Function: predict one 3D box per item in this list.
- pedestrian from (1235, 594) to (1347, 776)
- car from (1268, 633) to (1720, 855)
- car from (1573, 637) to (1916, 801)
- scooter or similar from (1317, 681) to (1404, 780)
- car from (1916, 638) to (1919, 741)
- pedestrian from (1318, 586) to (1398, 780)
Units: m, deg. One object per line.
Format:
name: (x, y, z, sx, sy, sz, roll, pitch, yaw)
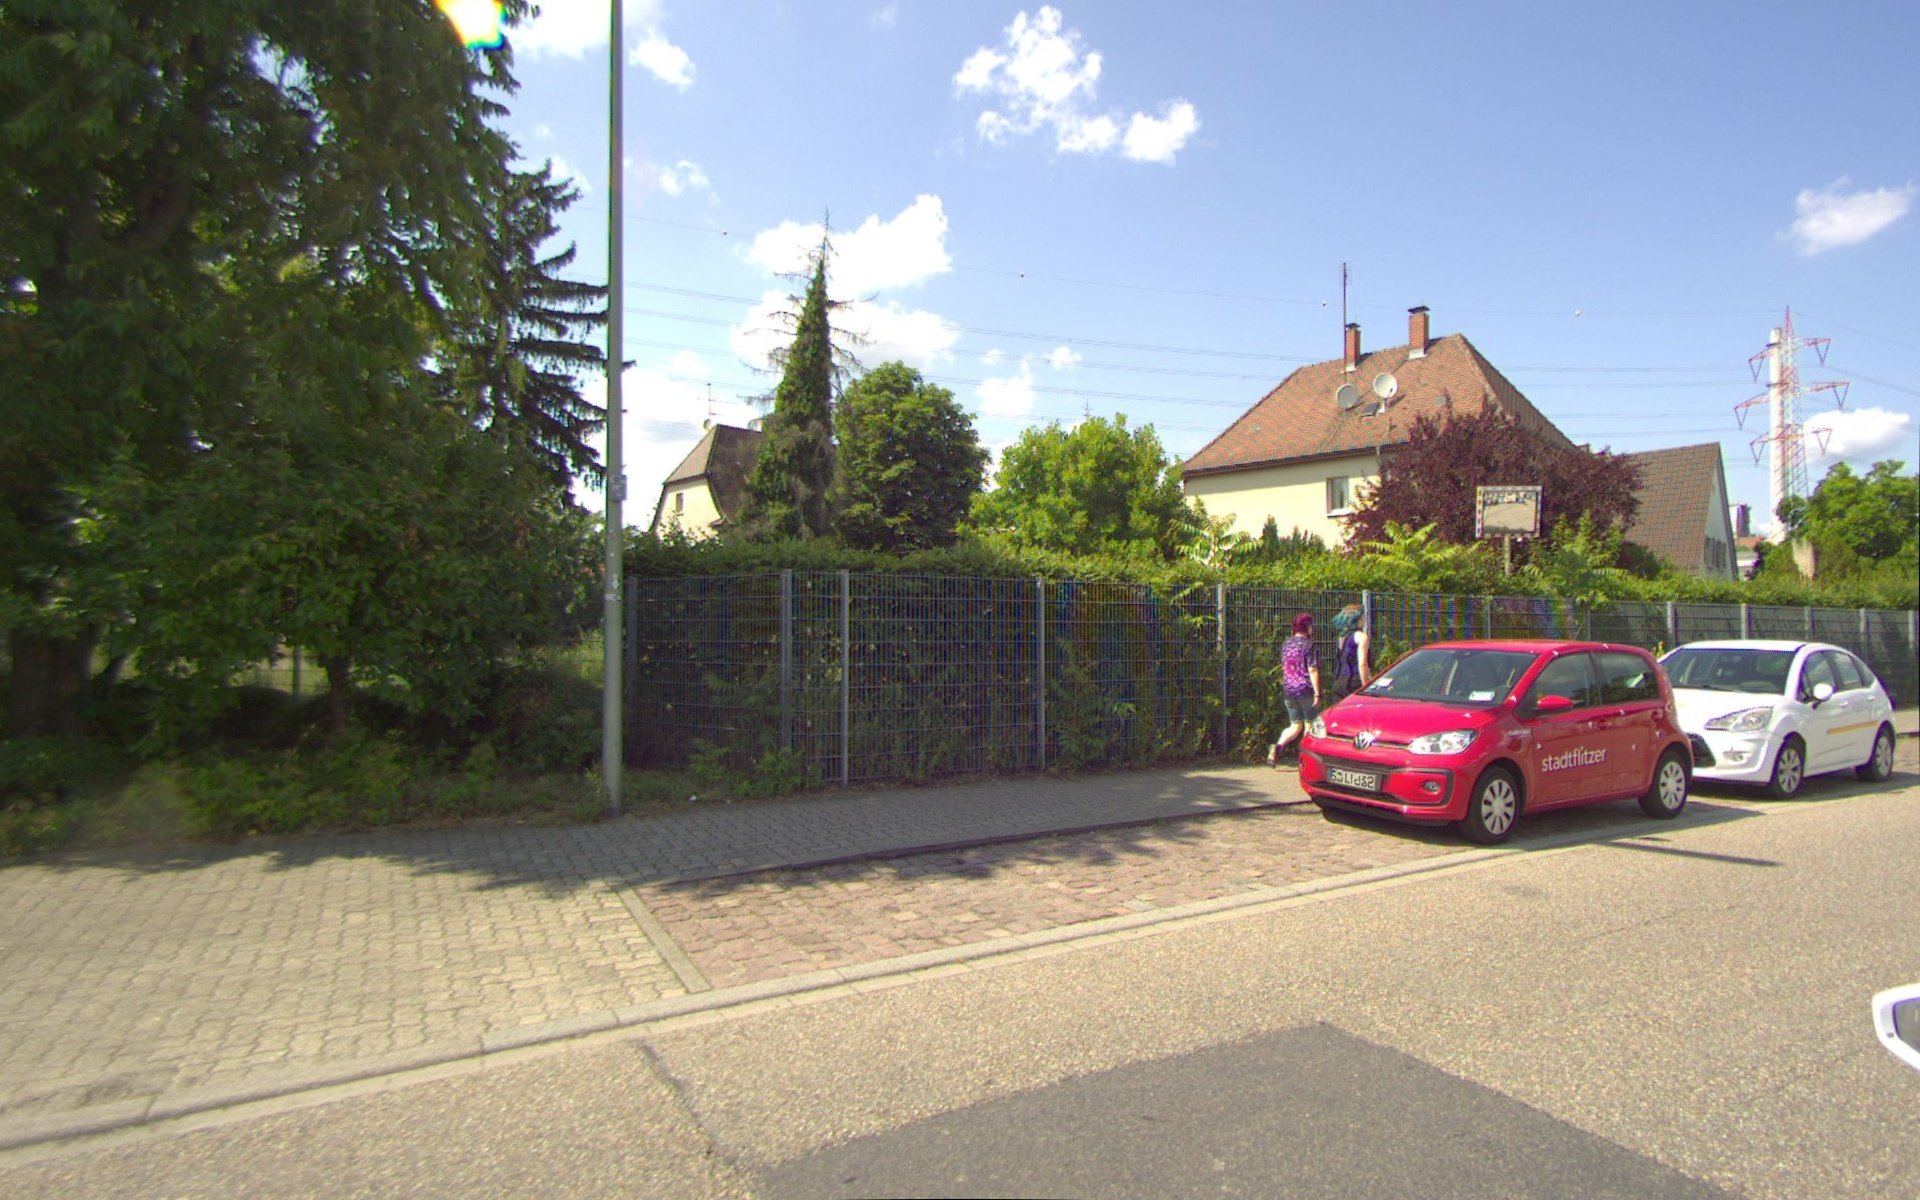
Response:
pedestrian: (3.496, 0.876, 10.611, 0.905, 1.824, 0.705, 2, -2, -30)
car: (4.584, 1.067, 8.540, 3.698, 1.486, 1.659, 2, -1, -29)
car: (8.610, 1.178, 10.958, 3.983, 1.496, 1.637, 2, -2, -31)
scooter or similar: (3.908, 1.252, 9.805, 0.702, 0.899, 0.469, 2, -2, -30)
car: (16.522, 1.366, 15.526, 4.131, 1.542, 1.611, 1, -2, -33)
pedestrian: (4.074, 0.834, 10.289, 0.669, 1.919, 0.448, 2, -2, -30)
